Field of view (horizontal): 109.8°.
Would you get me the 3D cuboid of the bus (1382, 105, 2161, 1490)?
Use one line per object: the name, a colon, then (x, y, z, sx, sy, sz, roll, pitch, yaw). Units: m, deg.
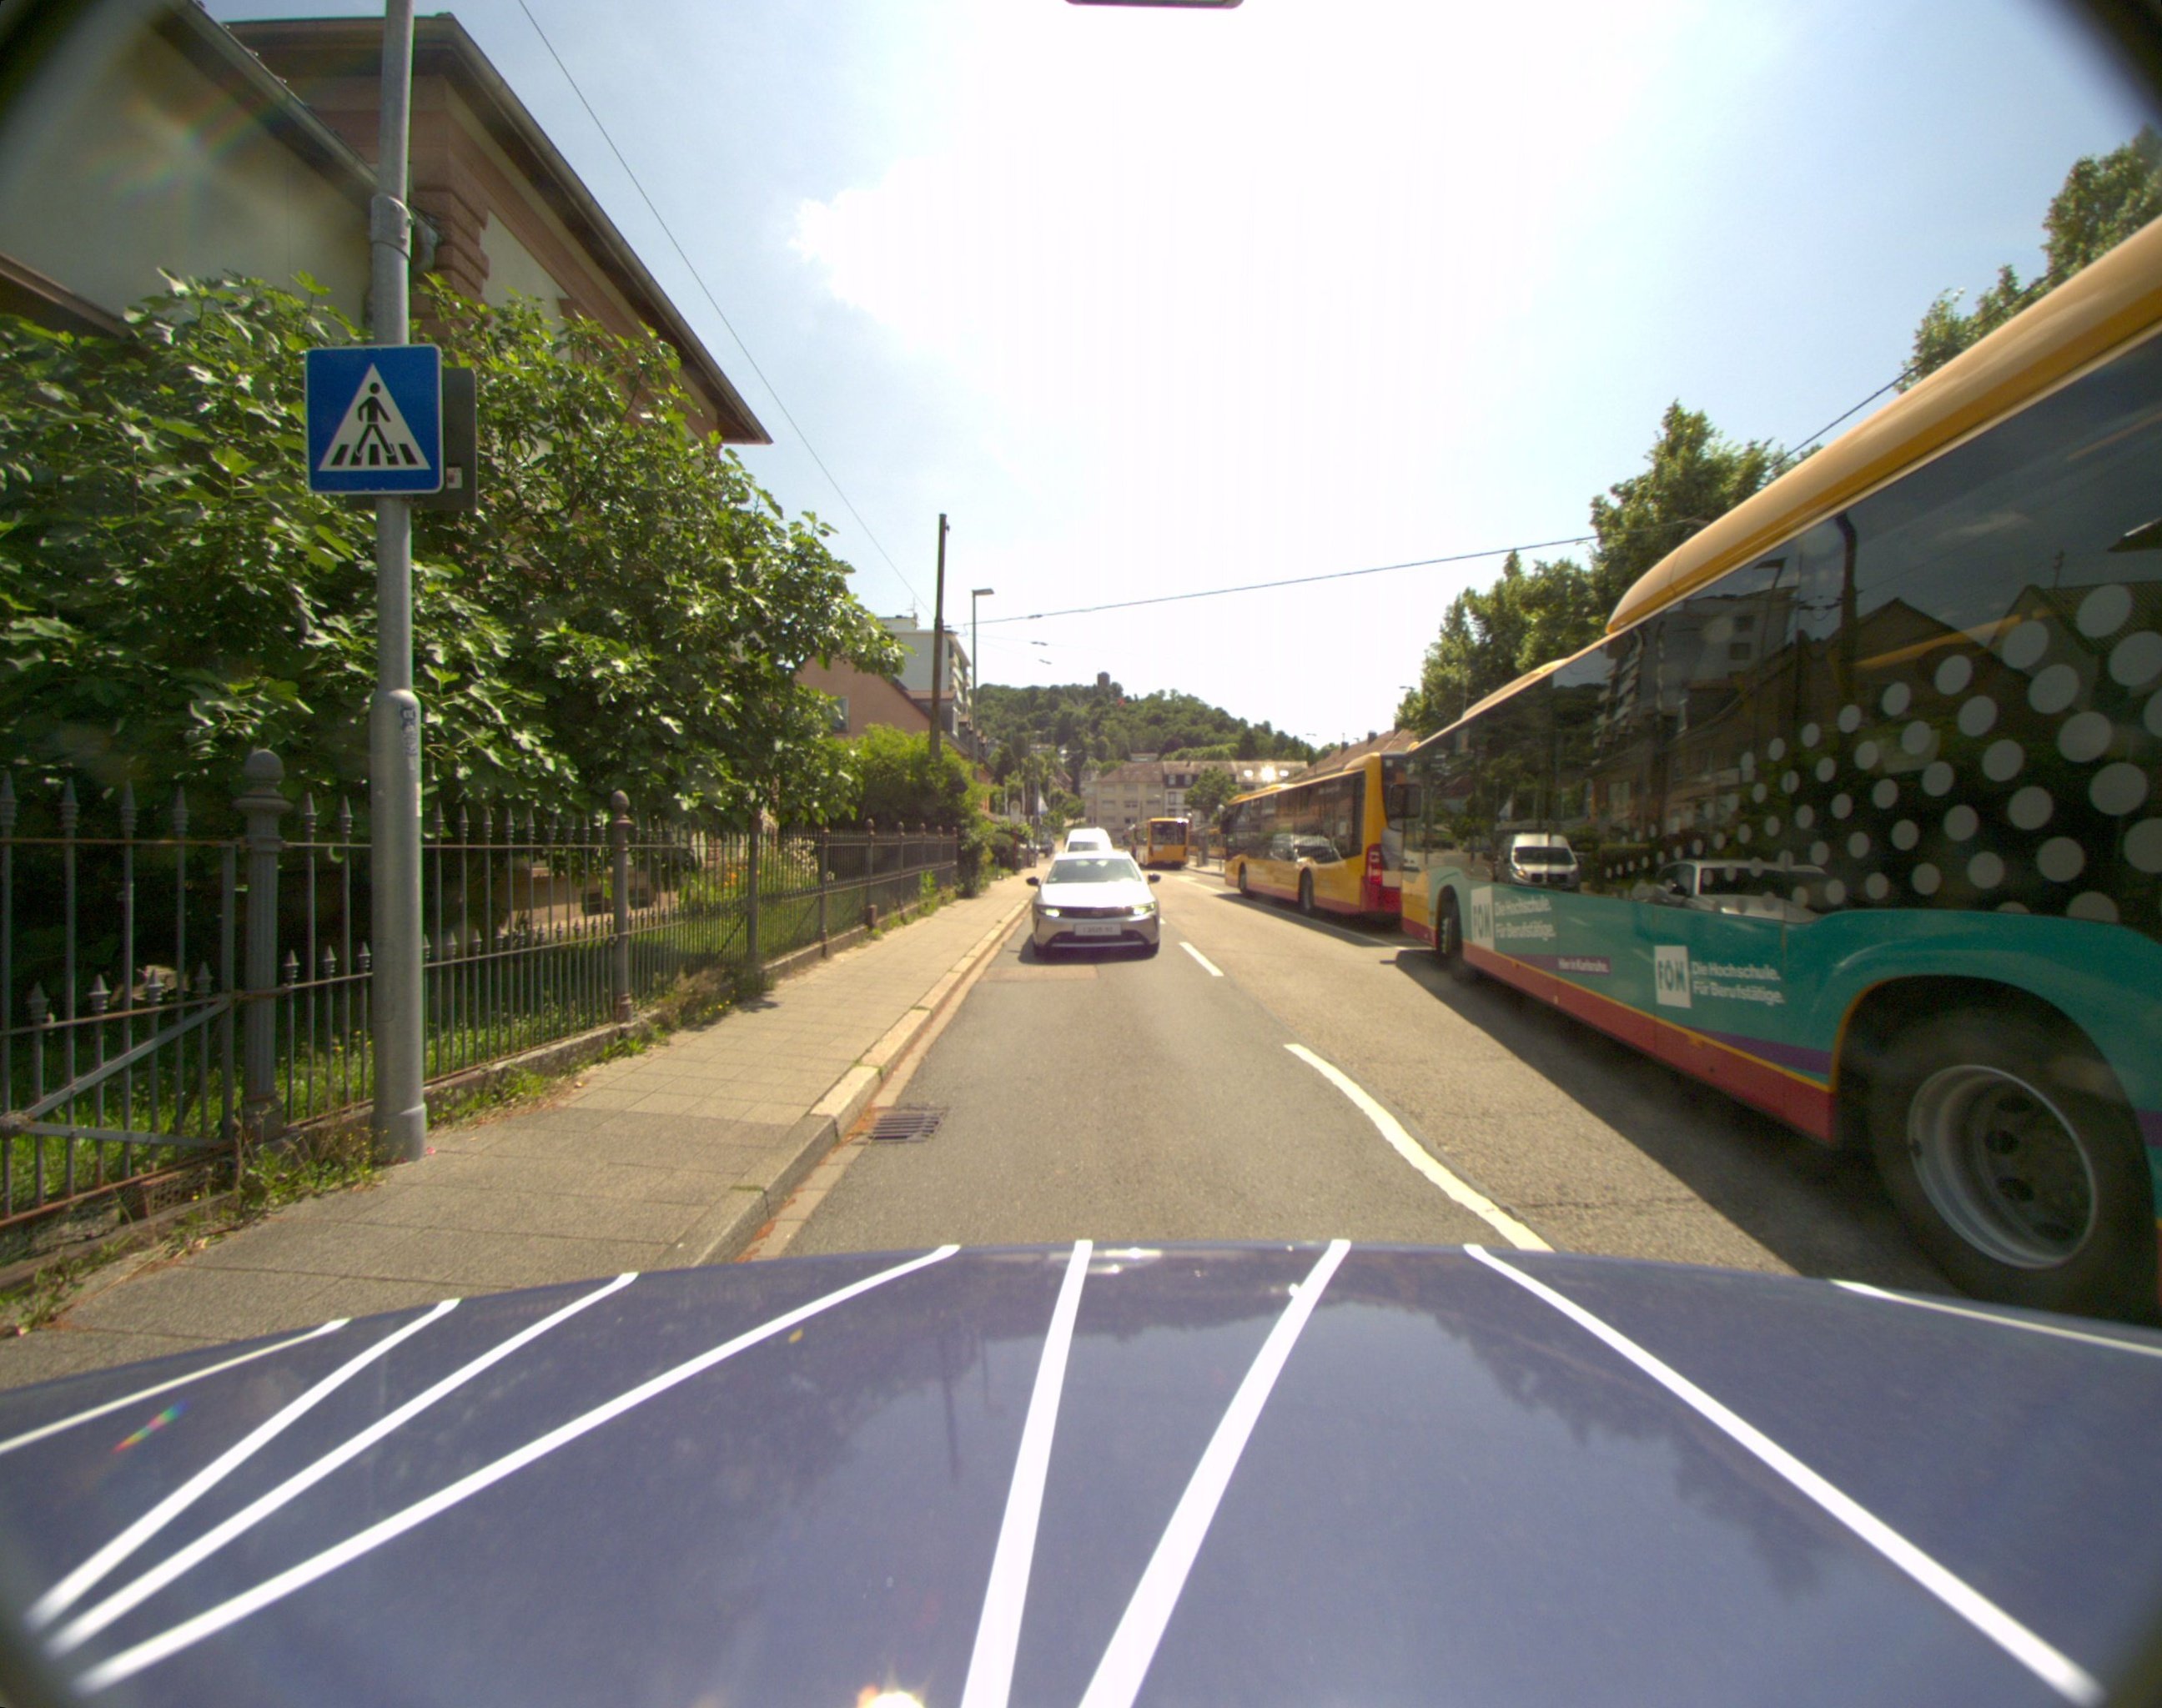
bus: (4.527, -0.189, 4.747, 2.784, 3.190, 12.315, -1, 1, 12)

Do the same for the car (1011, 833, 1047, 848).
car: (-6.389, -1.624, 92.934, 4.277, 1.780, 1.826, 1, 4, 39)

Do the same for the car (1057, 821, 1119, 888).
car: (0.172, -0.094, 29.482, 1.999, 2.259, 5.440, -2, 3, -3)

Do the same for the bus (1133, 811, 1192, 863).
bus: (5.529, -1.354, 53.946, 2.905, 3.230, 12.190, -2, 3, 0)

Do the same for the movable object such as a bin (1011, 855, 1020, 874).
movable object such as a bin: (-3.216, 0.508, 37.309, 0.407, 0.902, 0.729, 3, 3, -3)

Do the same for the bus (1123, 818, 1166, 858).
bus: (5.933, -1.522, 73.138, 2.915, 3.407, 12.036, -2, 1, 0)

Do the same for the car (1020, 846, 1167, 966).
car: (0.297, 0.628, 11.605, 1.818, 1.372, 4.391, 0, 2, 4)

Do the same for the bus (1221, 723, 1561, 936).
bus: (5.965, -0.563, 17.885, 2.915, 3.230, 12.113, -2, 2, 0)
